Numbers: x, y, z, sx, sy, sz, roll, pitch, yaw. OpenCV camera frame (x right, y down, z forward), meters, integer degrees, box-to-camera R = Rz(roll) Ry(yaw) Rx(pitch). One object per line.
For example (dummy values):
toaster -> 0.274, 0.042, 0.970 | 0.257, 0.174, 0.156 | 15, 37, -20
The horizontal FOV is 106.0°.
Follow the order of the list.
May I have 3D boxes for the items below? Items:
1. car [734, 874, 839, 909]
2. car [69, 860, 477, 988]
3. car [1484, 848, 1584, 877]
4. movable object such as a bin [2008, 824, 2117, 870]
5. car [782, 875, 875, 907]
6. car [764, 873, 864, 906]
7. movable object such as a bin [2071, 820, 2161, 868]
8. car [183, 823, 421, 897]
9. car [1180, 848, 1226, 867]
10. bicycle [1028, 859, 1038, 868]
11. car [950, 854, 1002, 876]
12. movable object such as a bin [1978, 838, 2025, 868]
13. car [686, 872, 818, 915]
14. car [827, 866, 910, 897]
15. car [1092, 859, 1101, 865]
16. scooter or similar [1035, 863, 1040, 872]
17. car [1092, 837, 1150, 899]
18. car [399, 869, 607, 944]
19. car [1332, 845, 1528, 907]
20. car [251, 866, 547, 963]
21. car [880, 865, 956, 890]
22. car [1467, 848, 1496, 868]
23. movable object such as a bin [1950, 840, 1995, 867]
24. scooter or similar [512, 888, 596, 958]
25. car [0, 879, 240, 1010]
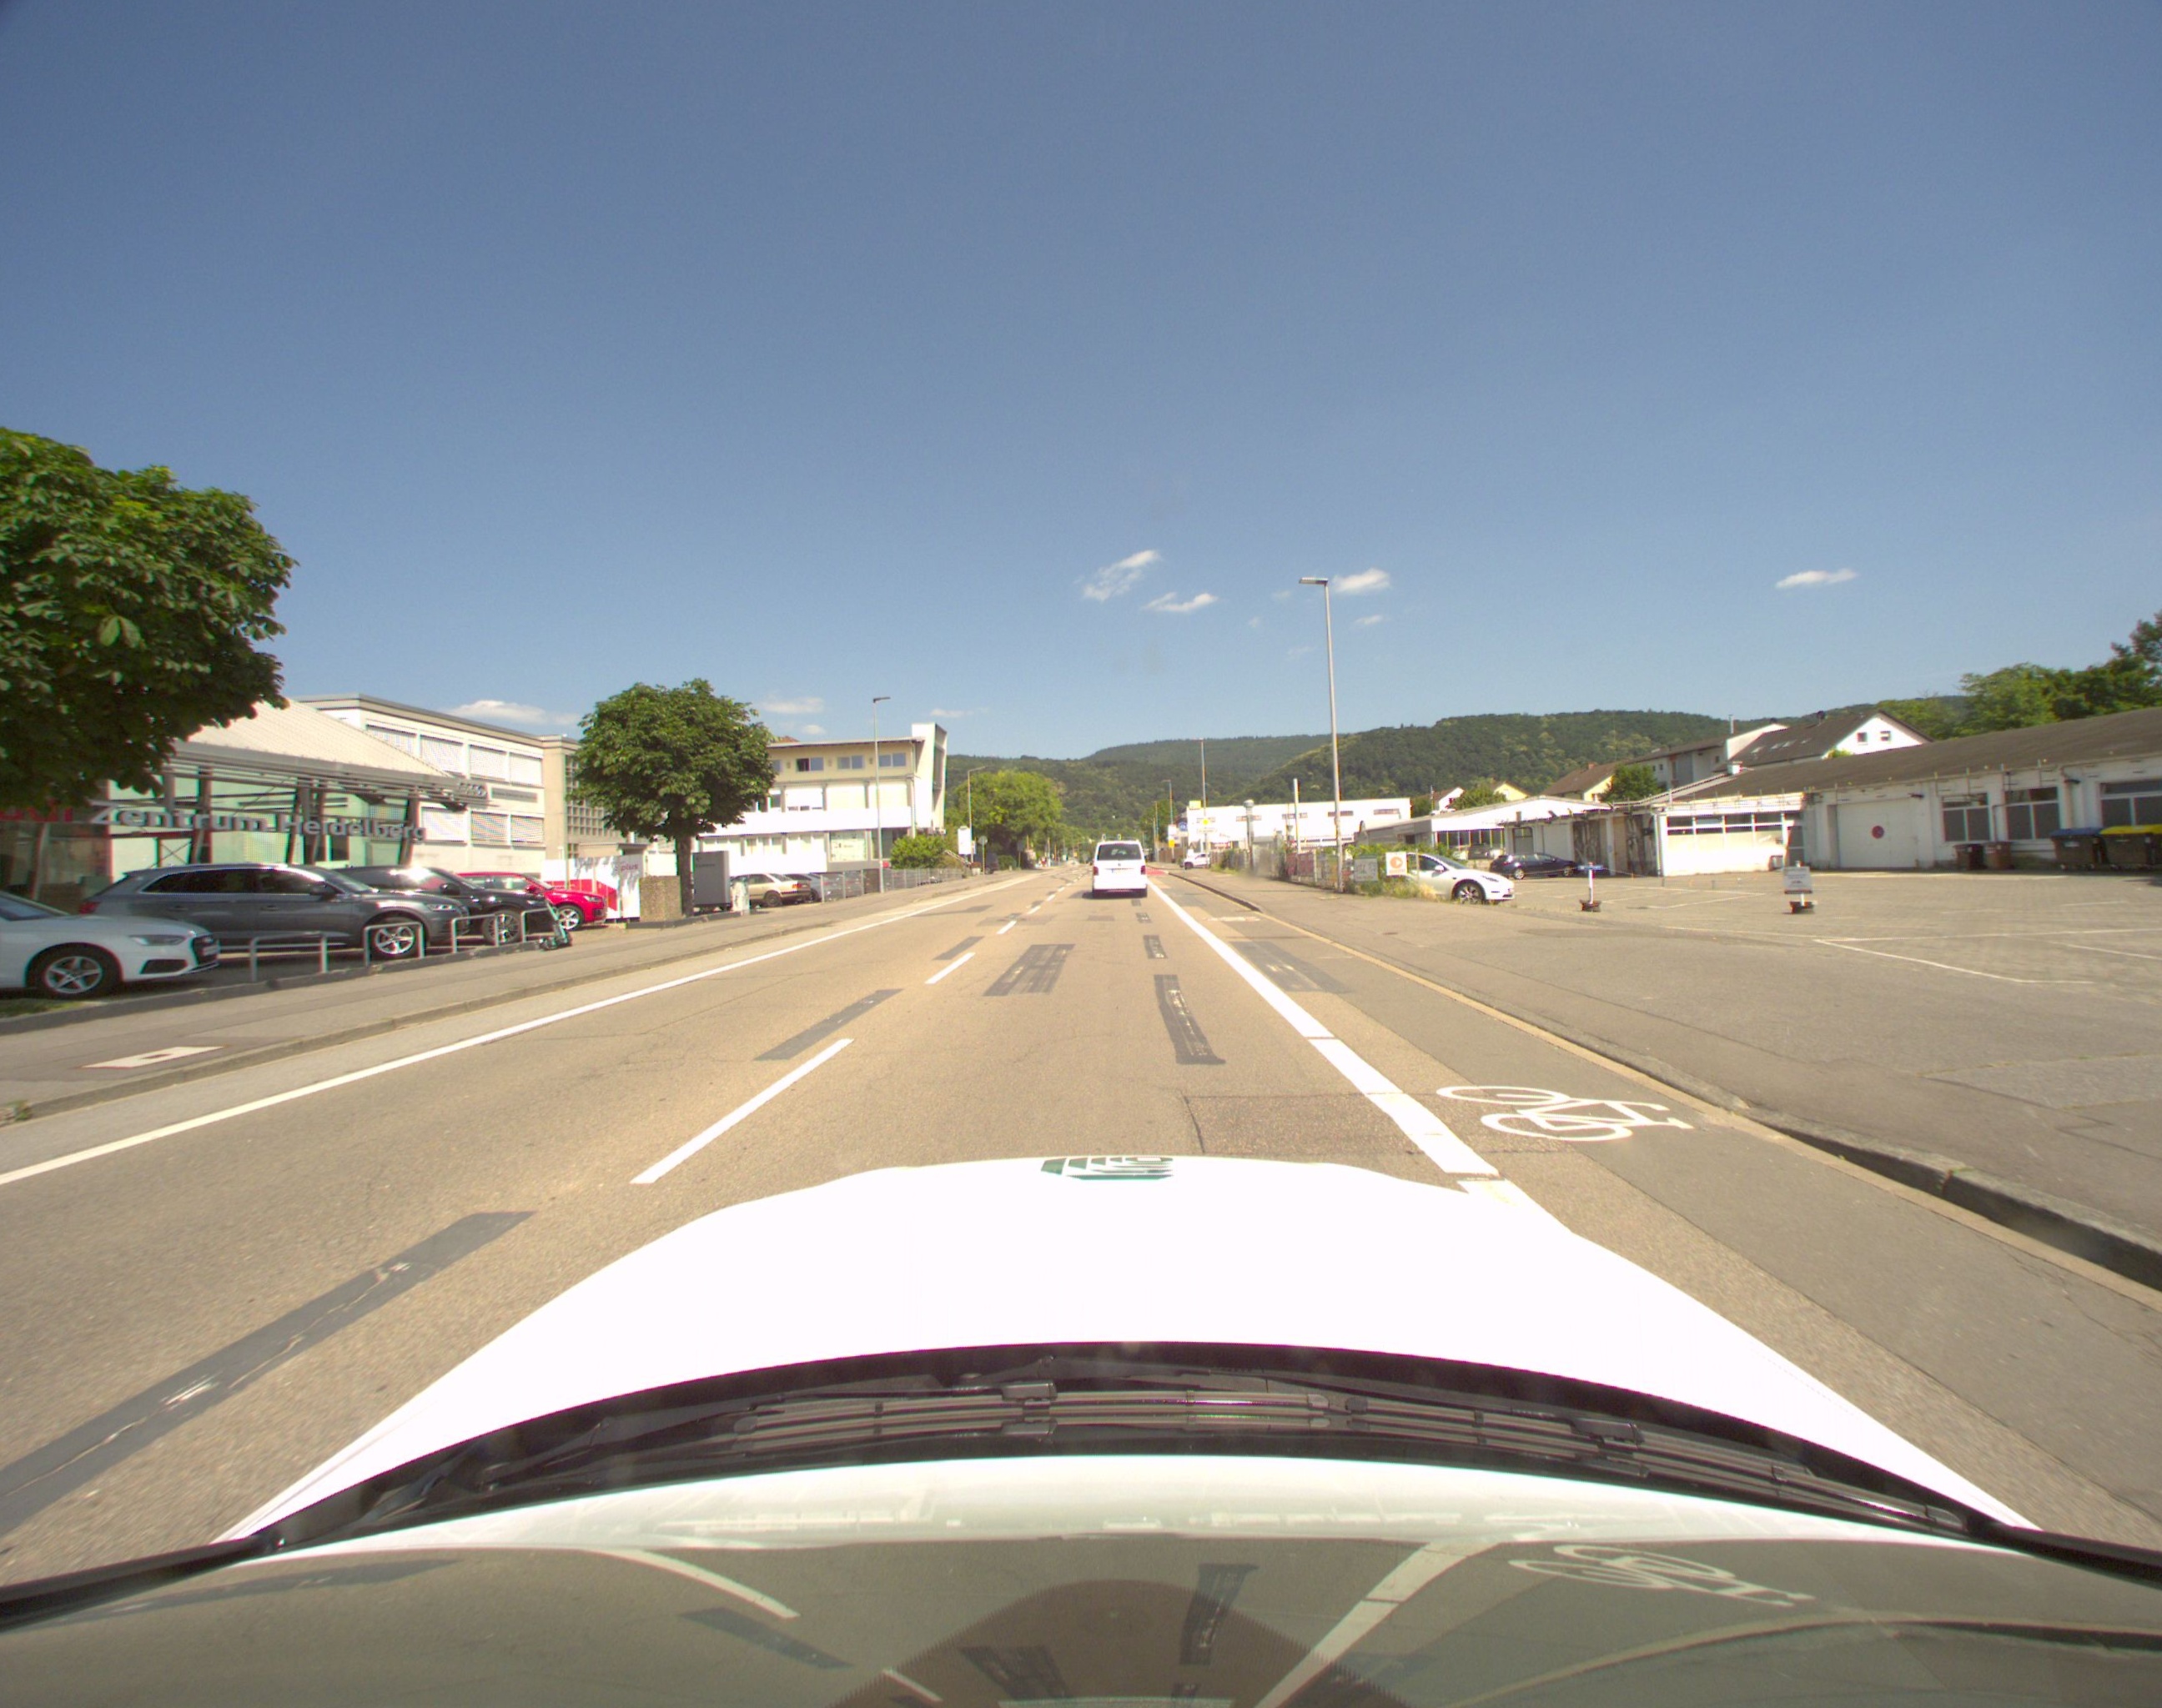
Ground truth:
car -> -12.821, 1.640, 35.668 | 3.881, 1.445, 1.821 | 1, -3, -3
car -> -13.214, 1.042, 13.834 | 4.598, 1.696, 1.840 | -2, 0, -33
car -> 24.792, 0.461, 44.715 | 4.307, 1.398, 2.122 | -2, -1, 5
movable object such as a bin -> 33.407, -0.239, 27.761 | 1.566, 1.455, 1.753 | -2, 0, -2
car -> -12.518, 1.852, 40.573 | 3.976, 1.491, 1.857 | 1, -3, -2
car -> -12.335, 1.662, 37.840 | 3.974, 1.443, 1.858 | 1, -3, 0
movable object such as a bin -> 33.444, -0.320, 25.929 | 1.566, 1.455, 1.824 | -2, 0, -2
car -> -20.155, 0.148, 21.334 | 1.979, 1.684, 4.016 | -2, 0, 15
car -> 10.071, 0.298, 67.522 | 3.648, 1.484, 1.730 | -2, 0, 4
bicycle -> -6.103, 1.256, 103.575 | 1.023, 1.118, 2.765 | 0, -1, 0
car -> -9.671, 1.035, 75.614 | 4.556, 1.865, 2.090 | -2, 0, -3
movable object such as a bin -> 34.032, -0.031, 30.118 | 0.744, 1.036, 0.875 | -2, 0, -2
car -> -13.289, 1.571, 33.081 | 4.509, 1.457, 1.900 | -3, 0, 0
car -> -12.409, 1.575, 47.828 | 4.285, 1.558, 1.994 | -3, 0, -2
car -> 3.850, 2.008, 199.899 | 1.986, 1.370, 4.328 | -3, -1, 1
scooter or similar -> -5.775, 1.738, 107.209 | 0.645, 1.128, 1.620 | 0, -1, -4
car -> 1.362, 0.475, 29.372 | 1.928, 2.060, 4.544 | 0, 0, 1
car -> -14.252, 1.239, 20.414 | 4.011, 1.550, 1.842 | -2, 0, -29
car -> 10.308, 0.699, 24.341 | 4.984, 1.622, 2.035 | -2, -5, 45
car -> -13.764, 1.140, 16.877 | 4.498, 1.708, 1.891 | 0, -1, -33
car -> -11.109, 1.596, 55.838 | 4.723, 1.481, 2.048 | -3, 0, 0
car -> 36.018, 0.303, 73.192 | 1.974, 1.647, 4.026 | -1, 1, 31
movable object such as a bin -> 34.036, -0.021, 31.107 | 0.744, 0.992, 0.875 | -2, 0, -2
scooter or similar -> -10.376, 1.330, 16.088 | 0.742, 1.247, 1.487 | -2, -1, -6
car -> -13.511, 1.097, 9.921 | 4.219, 1.495, 1.855 | 0, -2, -33
